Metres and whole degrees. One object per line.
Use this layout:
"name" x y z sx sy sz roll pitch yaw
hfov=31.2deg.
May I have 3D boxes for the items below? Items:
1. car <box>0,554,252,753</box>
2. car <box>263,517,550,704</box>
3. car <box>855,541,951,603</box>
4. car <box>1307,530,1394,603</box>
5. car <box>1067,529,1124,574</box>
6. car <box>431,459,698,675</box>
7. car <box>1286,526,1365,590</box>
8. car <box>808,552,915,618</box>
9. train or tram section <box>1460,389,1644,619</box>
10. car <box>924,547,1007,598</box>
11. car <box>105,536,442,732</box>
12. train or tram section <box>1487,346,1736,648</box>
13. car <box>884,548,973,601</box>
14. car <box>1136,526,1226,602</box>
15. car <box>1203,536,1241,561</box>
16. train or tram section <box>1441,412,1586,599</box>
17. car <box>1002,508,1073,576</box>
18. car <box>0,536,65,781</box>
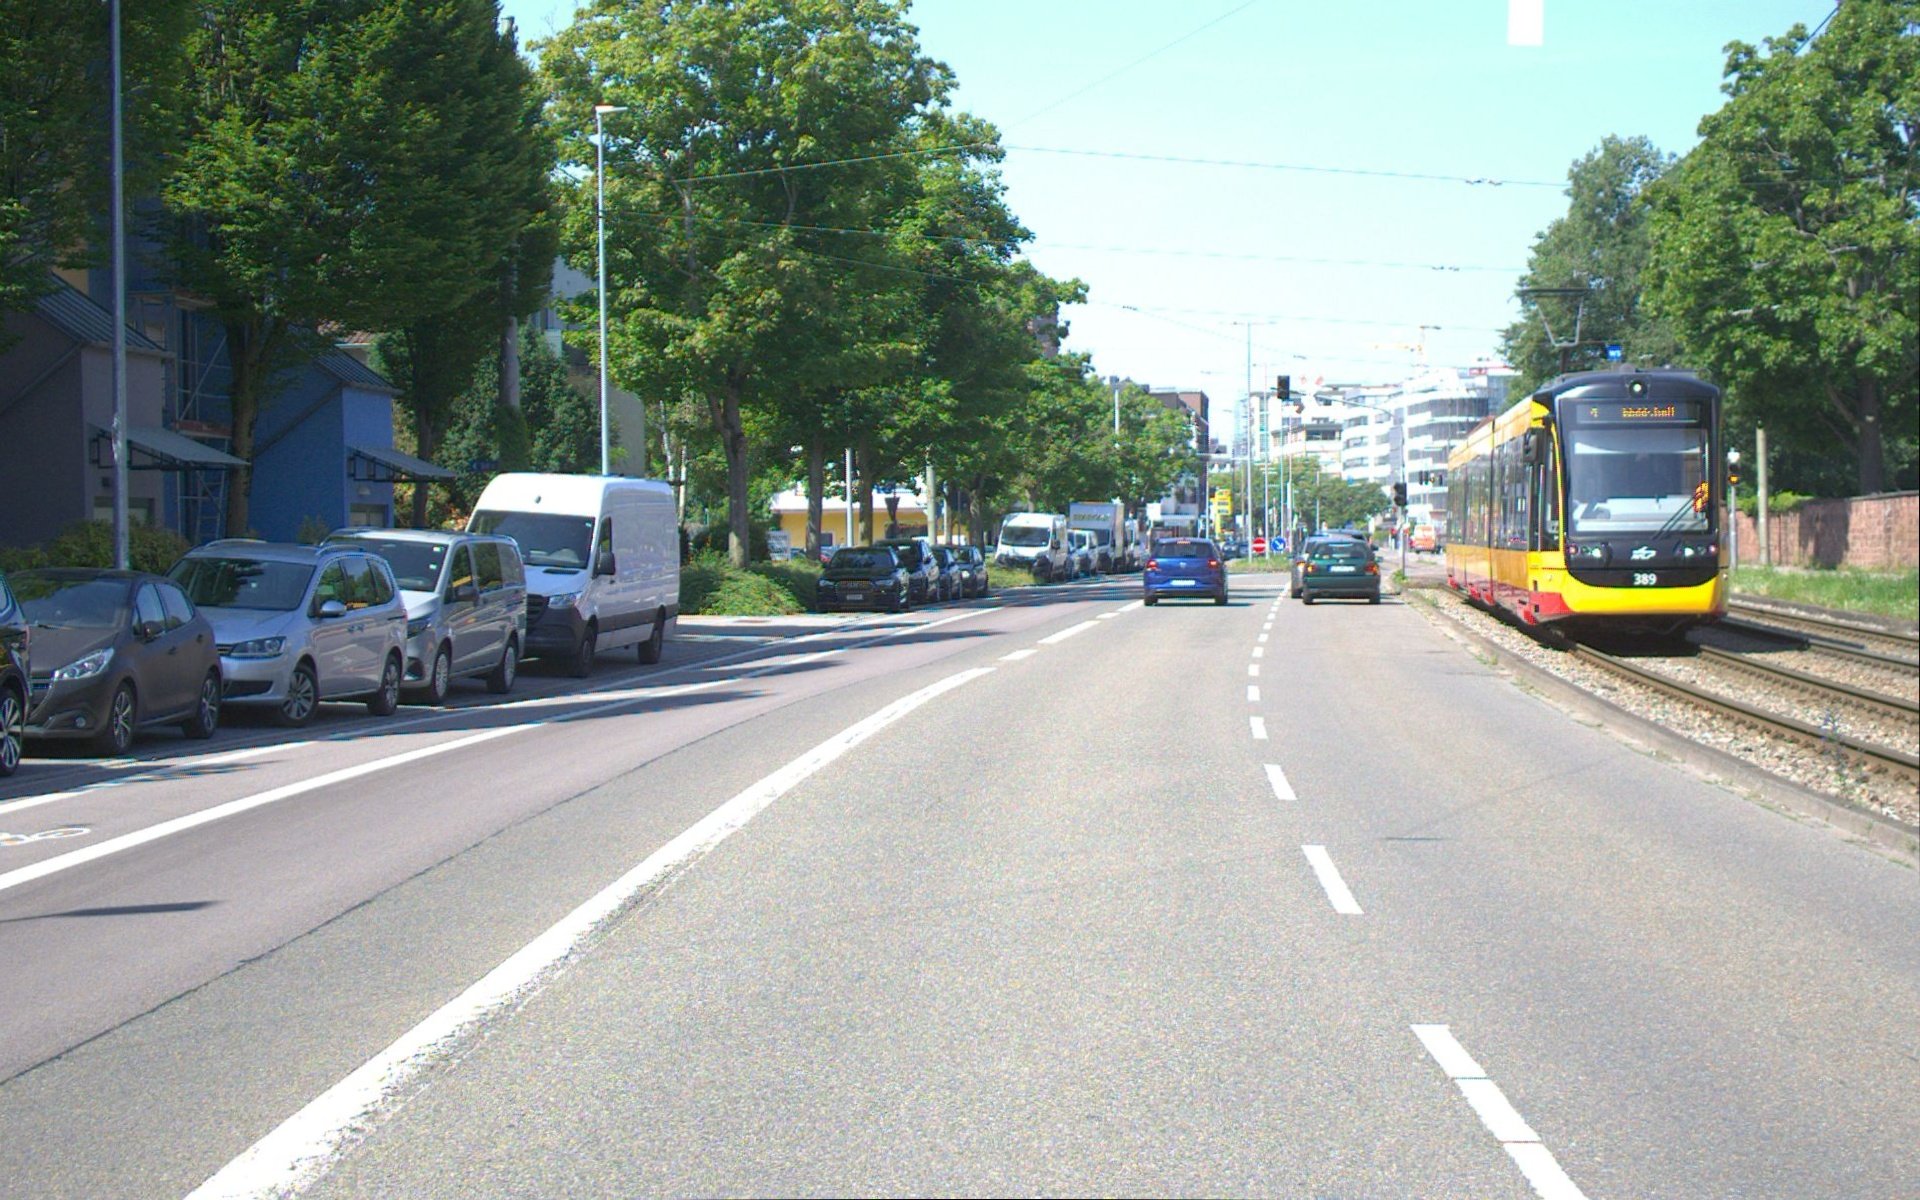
"car" -7.344 0.393 28.903 1.690 1.469 4.048 2 1 3
"car" -6.303 0.065 39.803 1.920 1.941 5.353 2 1 6
"car" -1.385 -0.706 85.585 1.700 1.477 3.999 0 1 9
"car" 8.501 -0.748 75.089 1.801 1.502 4.000 1 2 5
"car" 5.761 -2.074 145.331 1.827 1.860 4.723 0 1 9
"car" -5.390 -0.483 48.007 1.995 2.705 7.155 2 1 7
"car" 8.707 -1.019 82.140 1.801 1.455 4.000 1 2 5
"car" -2.203 -0.357 78.027 1.700 1.412 3.999 0 1 9
"train or tram section" 10.621 -1.694 62.765 2.512 3.734 13.308 -1 1 6
"car" 0.180 -0.782 96.196 1.700 1.347 3.999 0 1 9
"car" -6.680 0.267 34.025 1.801 1.718 4.908 2 1 6
"train or tram section" 9.145 -1.415 49.571 2.512 3.734 13.308 -1 1 6
"car" -0.810 -0.687 90.973 1.700 1.347 3.999 0 1 9
"car" 4.762 -0.794 73.777 1.801 1.502 4.000 1 2 5
"car" 13.292 -2.612 174.148 1.700 1.268 3.999 -1 1 8
"train or tram section" 12.082 -2.041 75.933 2.512 3.734 13.308 -1 1 6
"car" 2.847 -2.123 124.990 1.880 2.407 5.114 0 1 9
"car" -7.667 0.418 23.429 1.769 1.717 4.870 1 1 1
